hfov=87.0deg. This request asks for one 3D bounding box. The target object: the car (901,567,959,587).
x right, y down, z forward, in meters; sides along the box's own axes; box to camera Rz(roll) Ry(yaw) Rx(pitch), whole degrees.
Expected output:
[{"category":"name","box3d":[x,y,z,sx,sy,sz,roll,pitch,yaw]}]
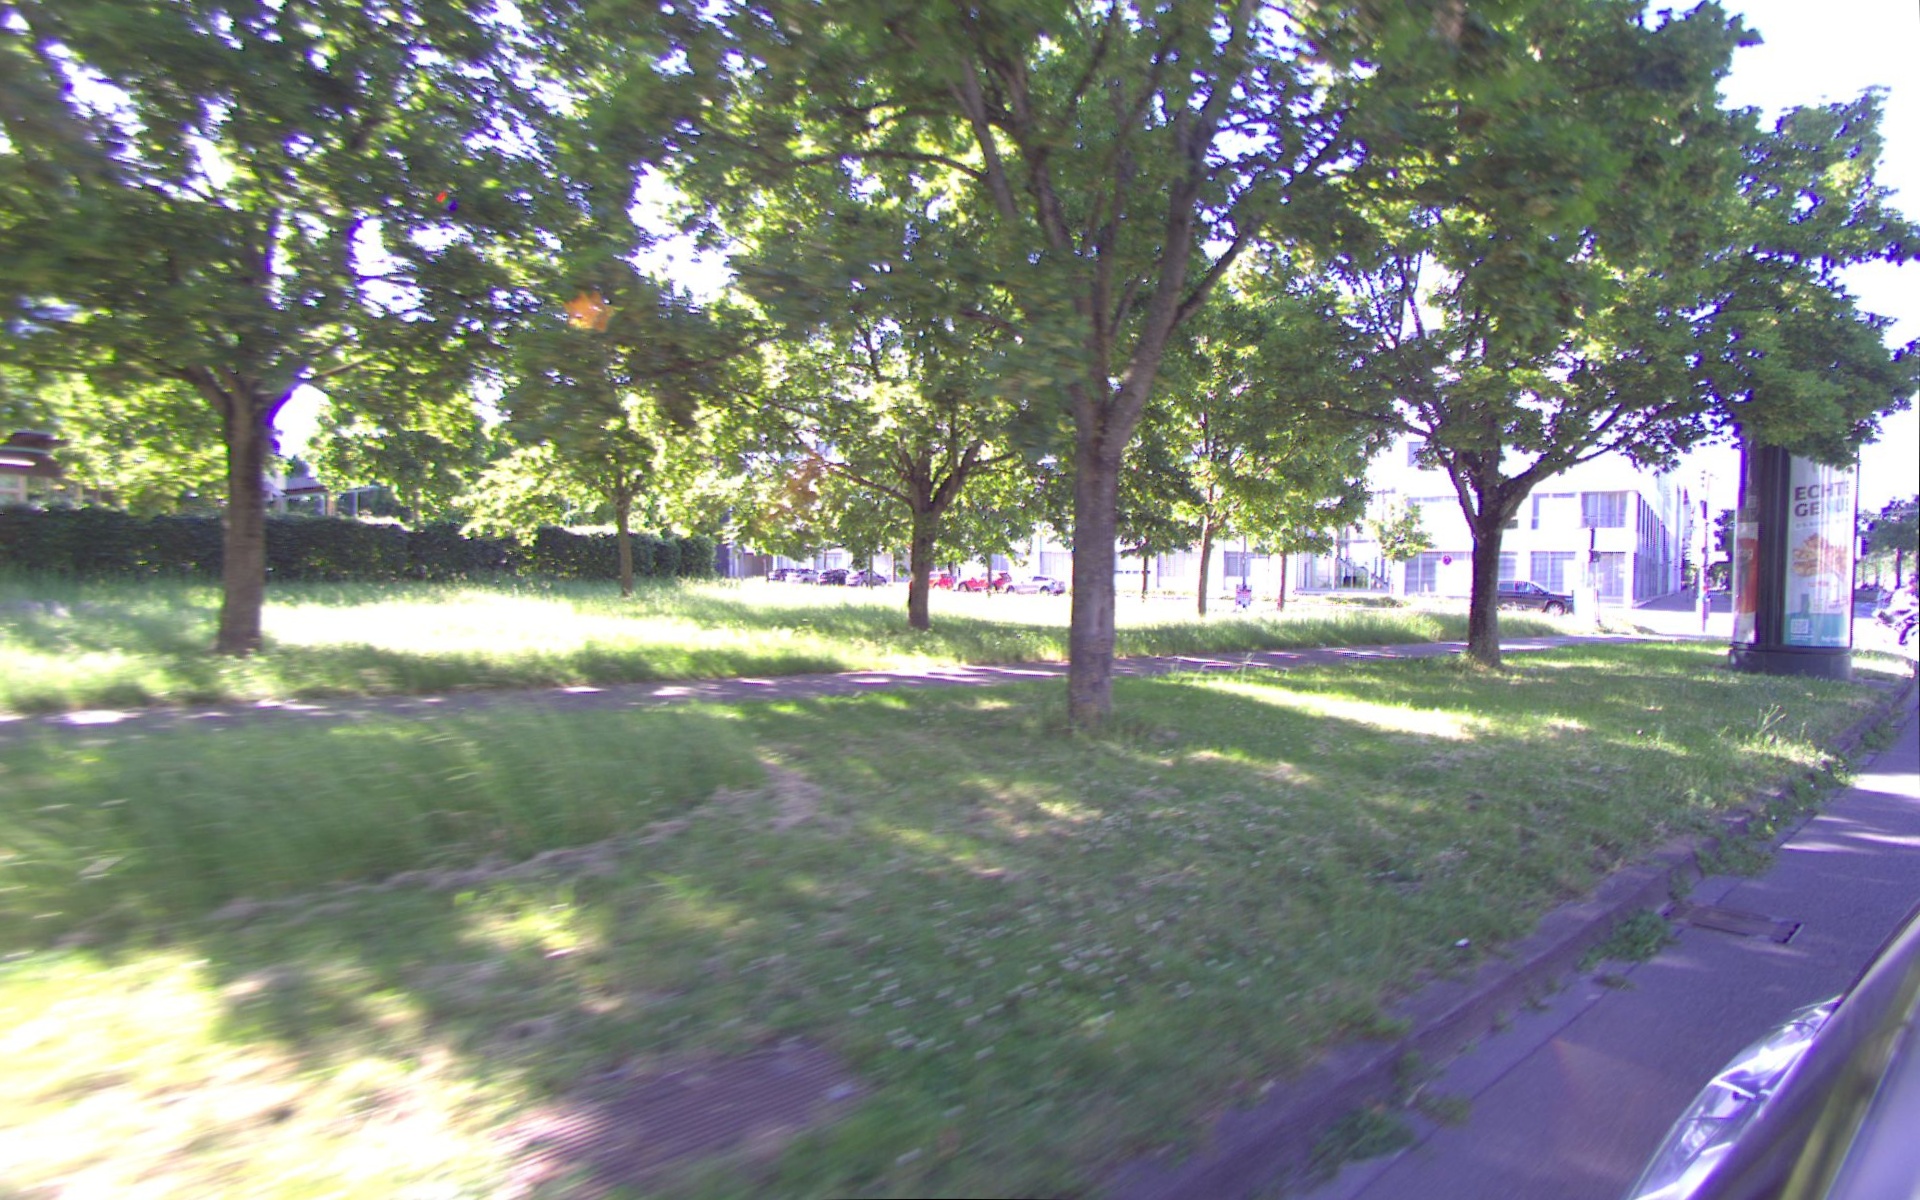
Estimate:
[{"category":"car","box3d":[-2.315,-1.798,78.822,4.260,1.437,1.895,2,2,36]}]

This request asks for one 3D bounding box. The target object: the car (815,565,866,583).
[{"category":"car","box3d":[-10.050,-2.185,85.477,1.908,1.437,4.232,2,2,36]}]

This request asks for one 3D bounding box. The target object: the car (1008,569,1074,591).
[{"category":"car","box3d":[5.608,-1.388,70.447,4.260,1.437,1.895,2,2,36]}]

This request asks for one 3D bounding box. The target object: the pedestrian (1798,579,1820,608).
[{"category":"pedestrian","box3d":[49.673,-0.390,59.215,0.720,1.718,0.734,0,1,-30]}]

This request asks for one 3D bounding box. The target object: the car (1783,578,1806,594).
[{"category":"car","box3d":[90.113,-1.541,109.313,1.685,1.731,4.184,2,2,37]}]

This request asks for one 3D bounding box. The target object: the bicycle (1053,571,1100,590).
[{"category":"bicycle","box3d":[8.835,-1.518,76.932,3.517,1.365,0.976,2,2,38]}]

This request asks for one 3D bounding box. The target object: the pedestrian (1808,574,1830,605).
[{"category":"pedestrian","box3d":[49.322,-0.607,58.103,0.880,1.718,0.723,2,1,44]}]

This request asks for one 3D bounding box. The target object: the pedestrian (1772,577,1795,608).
[{"category":"pedestrian","box3d":[46.466,-0.448,57.099,0.720,1.718,0.734,0,1,-30]}]

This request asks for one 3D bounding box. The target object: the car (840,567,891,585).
[{"category":"car","box3d":[-7.813,-1.986,83.756,1.908,1.437,4.232,2,2,36]}]

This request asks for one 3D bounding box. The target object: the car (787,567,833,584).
[{"category":"car","box3d":[-13.057,-2.144,88.153,1.650,1.437,3.958,2,2,36]}]

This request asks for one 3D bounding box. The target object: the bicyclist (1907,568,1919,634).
[{"category":"bicyclist","box3d":[23.865,0.023,24.950,0.713,1.620,0.836,2,1,45]}]

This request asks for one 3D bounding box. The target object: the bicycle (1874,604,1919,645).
[{"category":"bicycle","box3d":[23.819,0.614,24.980,0.842,0.975,1.824,0,2,-45]}]

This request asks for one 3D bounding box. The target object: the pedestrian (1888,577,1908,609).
[{"category":"pedestrian","box3d":[50.264,-0.380,54.235,0.731,1.718,0.723,2,1,44]}]

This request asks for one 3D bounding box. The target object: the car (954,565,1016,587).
[{"category":"car","box3d":[1.857,-1.798,75.769,4.260,1.614,1.895,2,2,36]}]

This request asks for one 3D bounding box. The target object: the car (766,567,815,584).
[{"category":"car","box3d":[-15.043,-2.159,90.012,1.908,1.437,4.232,2,2,36]}]

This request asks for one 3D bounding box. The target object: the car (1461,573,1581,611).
[{"category":"car","box3d":[26.183,-0.431,47.310,4.610,1.642,1.972,2,3,40]}]
